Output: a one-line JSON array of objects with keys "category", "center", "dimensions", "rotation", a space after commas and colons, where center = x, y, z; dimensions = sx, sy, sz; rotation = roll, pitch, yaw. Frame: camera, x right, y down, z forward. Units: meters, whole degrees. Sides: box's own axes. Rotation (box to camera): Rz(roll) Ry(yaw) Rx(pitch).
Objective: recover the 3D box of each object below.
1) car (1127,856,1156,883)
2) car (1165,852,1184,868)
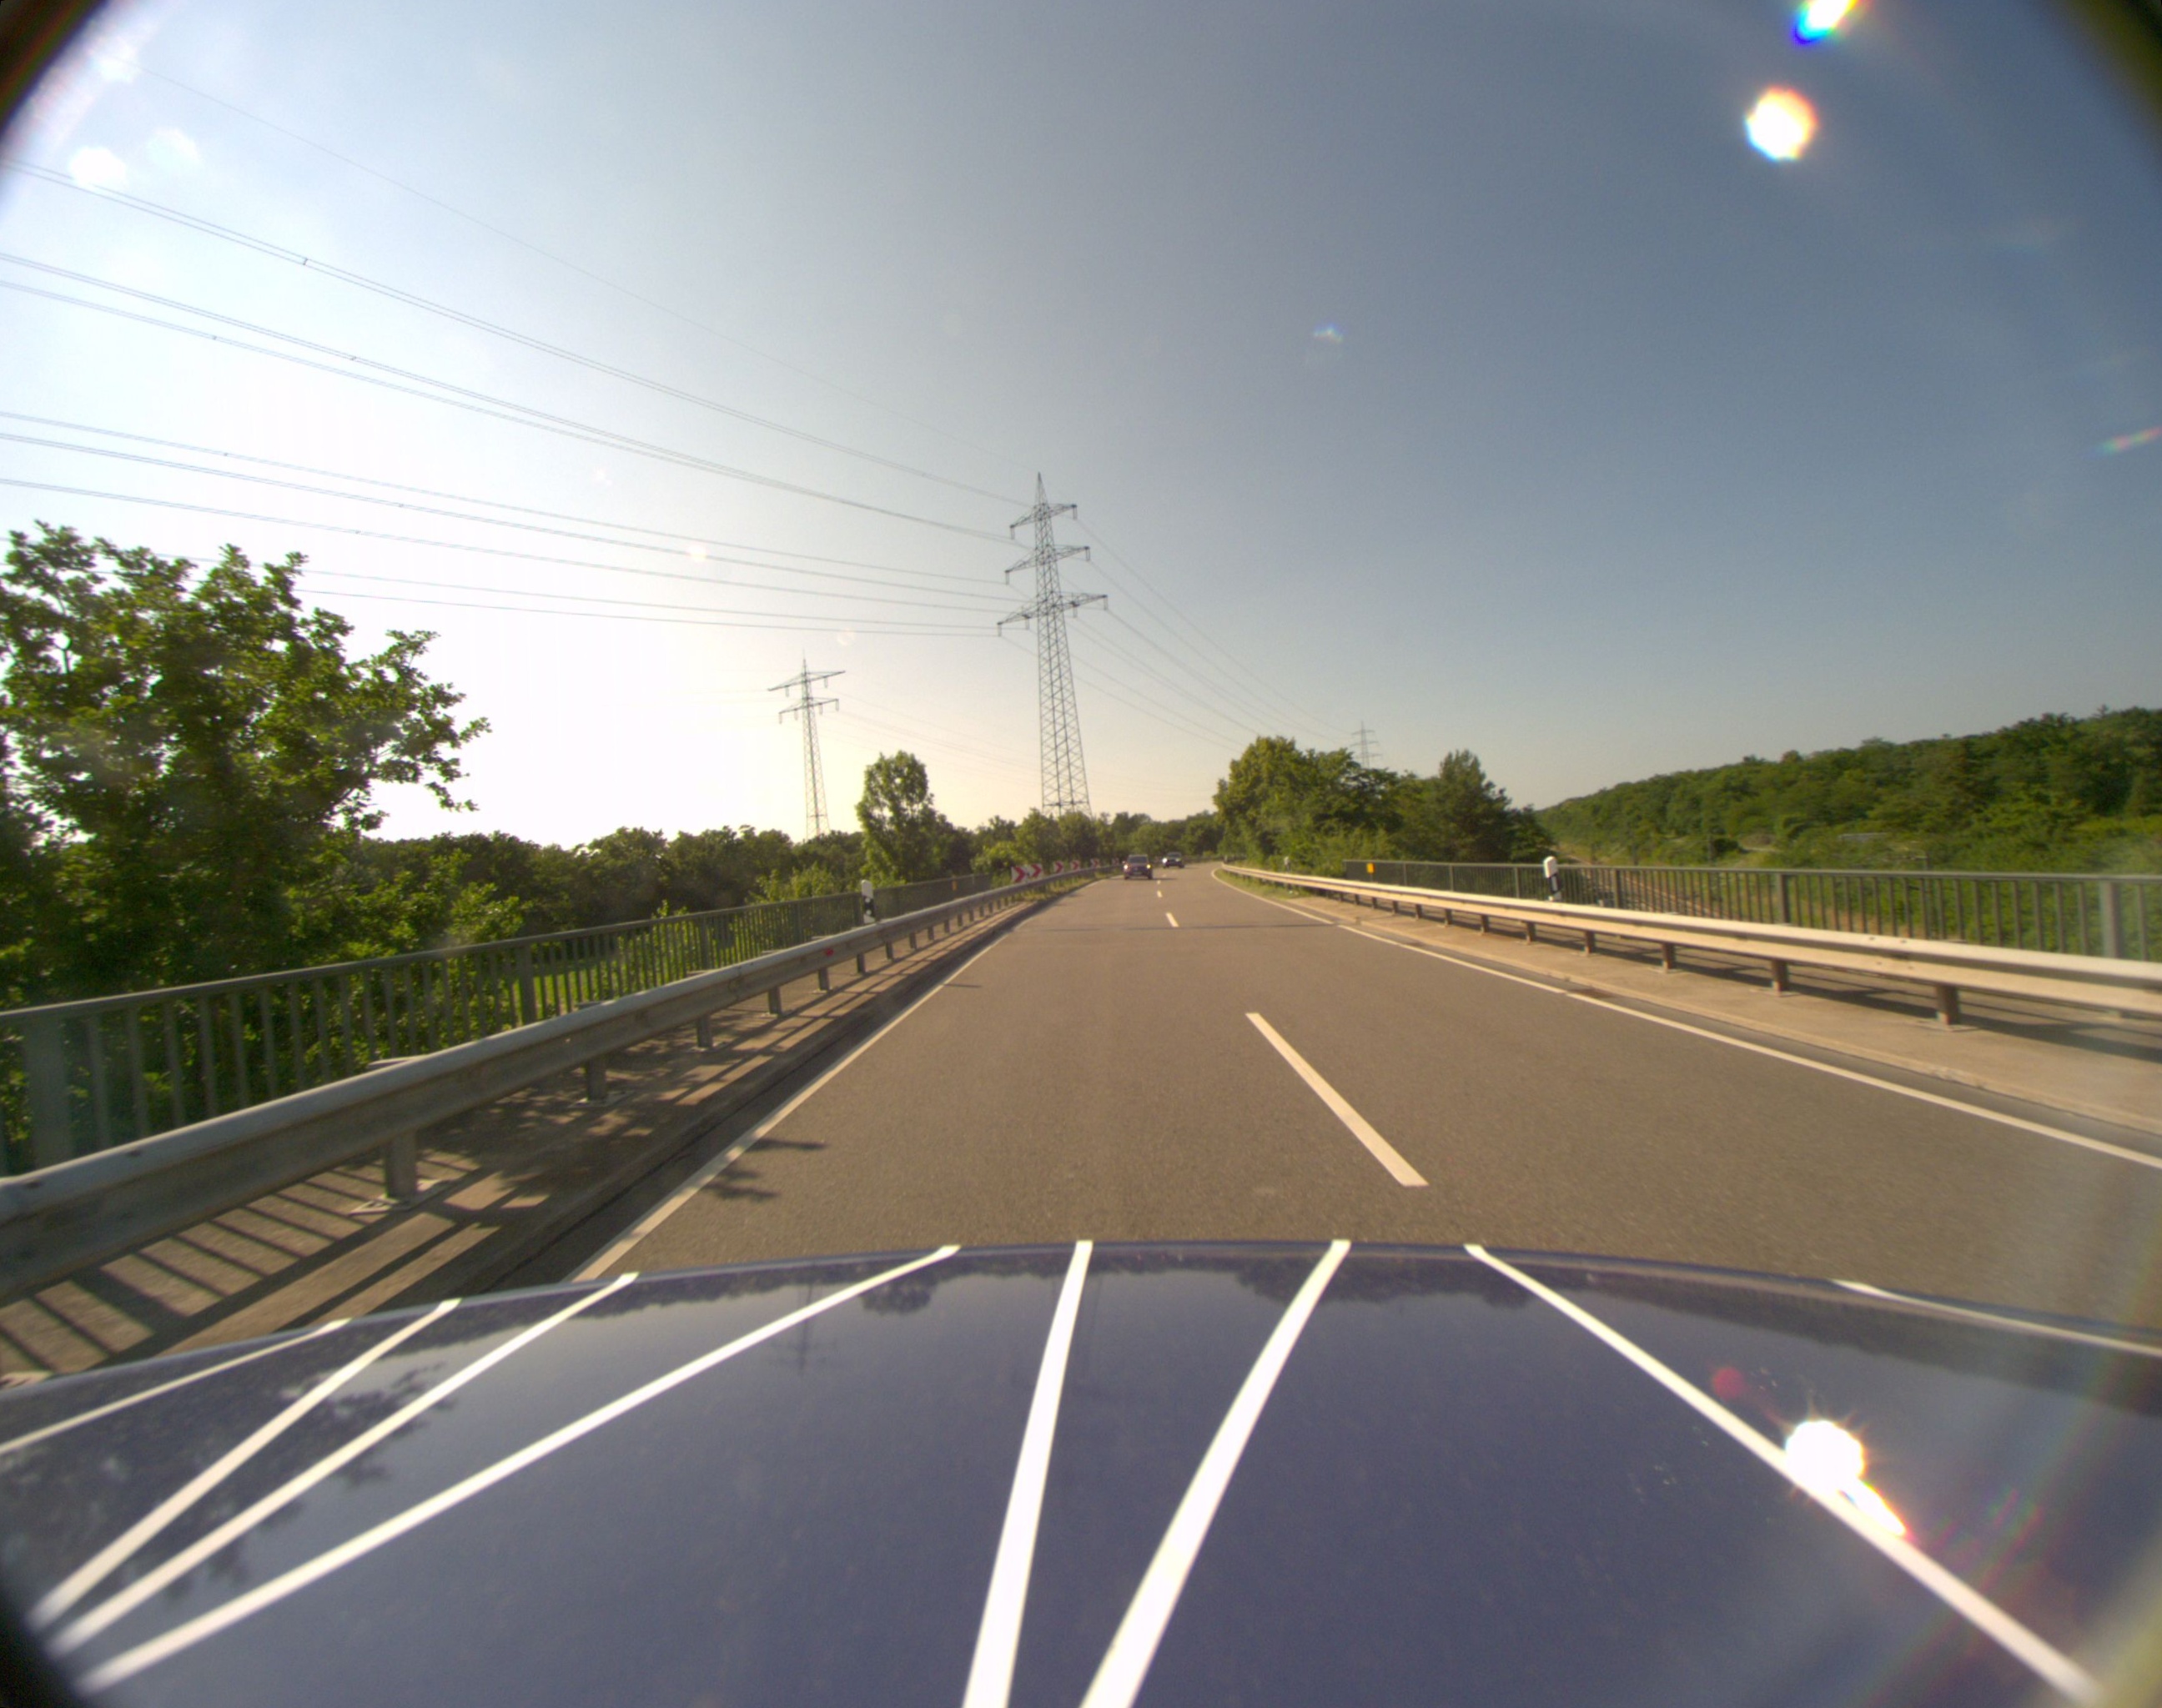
[{"category": "car", "center": [3.762, 0.932, 46.698], "dimensions": [1.606, 1.486, 4.001], "rotation": [-2, 1, 6]}, {"category": "car", "center": [9.990, 0.618, 80.880], "dimensions": [1.605, 1.486, 4.003], "rotation": [-2, 1, 13]}]
